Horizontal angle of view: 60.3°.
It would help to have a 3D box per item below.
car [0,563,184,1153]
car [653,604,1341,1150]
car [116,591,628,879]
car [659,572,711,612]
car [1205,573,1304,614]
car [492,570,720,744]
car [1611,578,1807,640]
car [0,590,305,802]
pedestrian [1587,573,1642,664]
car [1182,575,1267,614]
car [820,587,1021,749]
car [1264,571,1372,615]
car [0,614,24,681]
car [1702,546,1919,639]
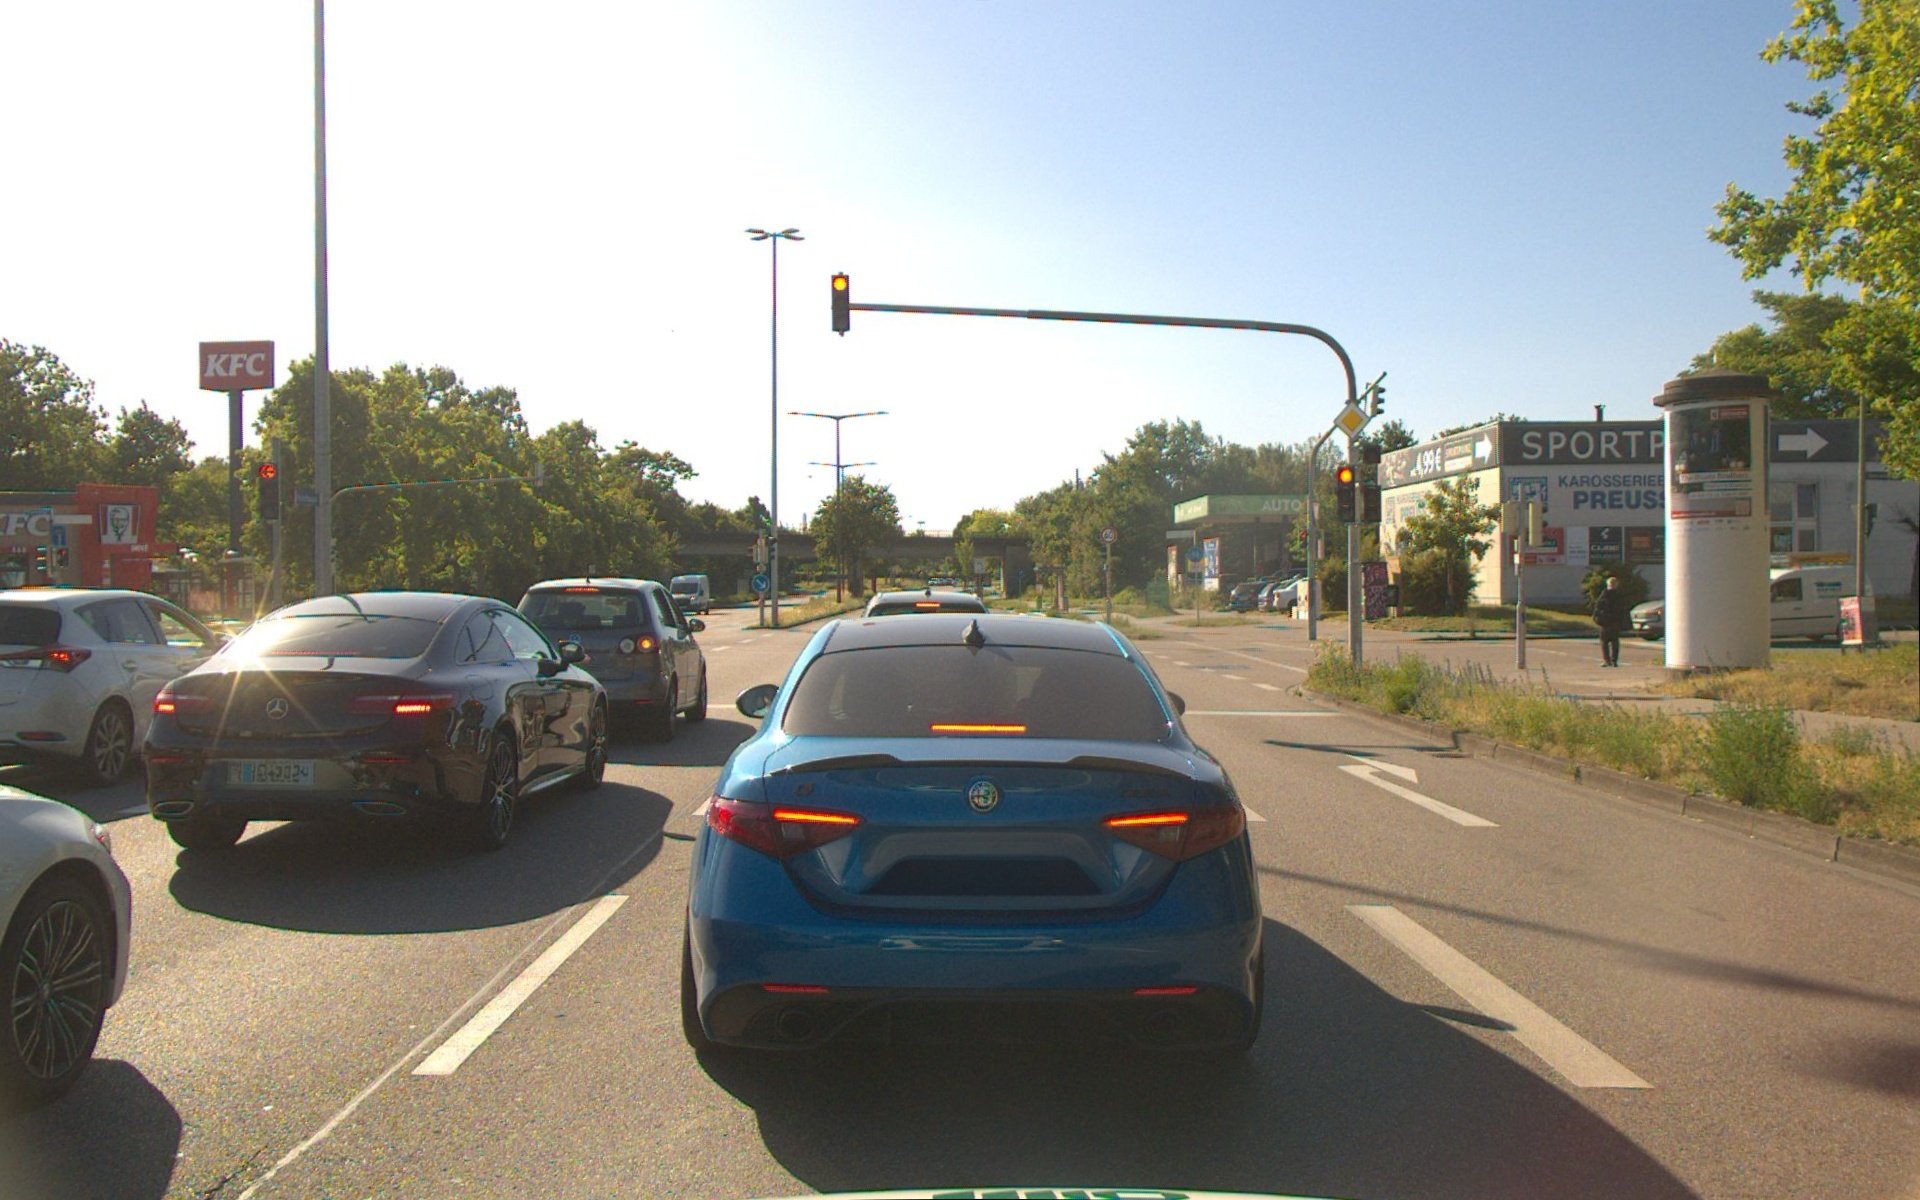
[{"bbox_3d":[-3.346,0.682,3.101,1.732,1.535,4.460,0,0,-1],"label":"car"},{"bbox_3d":[0.075,0.746,6.376,1.828,1.409,3.931,0,0,-1],"label":"car"},{"bbox_3d":[-3.411,0.668,10.574,1.732,1.439,4.460,0,0,-1],"label":"car"},{"bbox_3d":[-17.393,-0.505,104.975,2.382,2.469,5.830,0,0,-1],"label":"car"},{"bbox_3d":[12.675,-0.270,71.157,3.928,1.736,1.686,0,0,-20],"label":"car"},{"bbox_3d":[-3.599,0.523,17.474,1.615,1.626,3.931,0,0,-1],"label":"car"},{"bbox_3d":[19.761,0.222,43.733,4.318,1.580,1.998,0,0,-4],"label":"car"},{"bbox_3d":[-7.165,0.654,13.641,1.819,1.454,4.403,0,0,-1],"label":"car"},{"bbox_3d":[12.731,0.352,32.202,0.805,1.752,0.854,0,0,6],"label":"pedestrian"},{"bbox_3d":[11.880,-0.264,74.336,3.428,1.736,1.688,0,0,-16],"label":"car"},{"bbox_3d":[-0.390,0.607,17.059,1.828,1.475,3.931,0,0,-1],"label":"car"},{"bbox_3d":[14.347,-0.281,66.327,3.923,1.736,1.687,0,0,-17],"label":"car"},{"bbox_3d":[-25.561,1.180,40.735,3.957,1.622,1.823,0,0,-4],"label":"car"},{"bbox_3d":[20.605,-0.192,40.164,4.318,2.183,1.998,0,0,-4],"label":"car"}]
